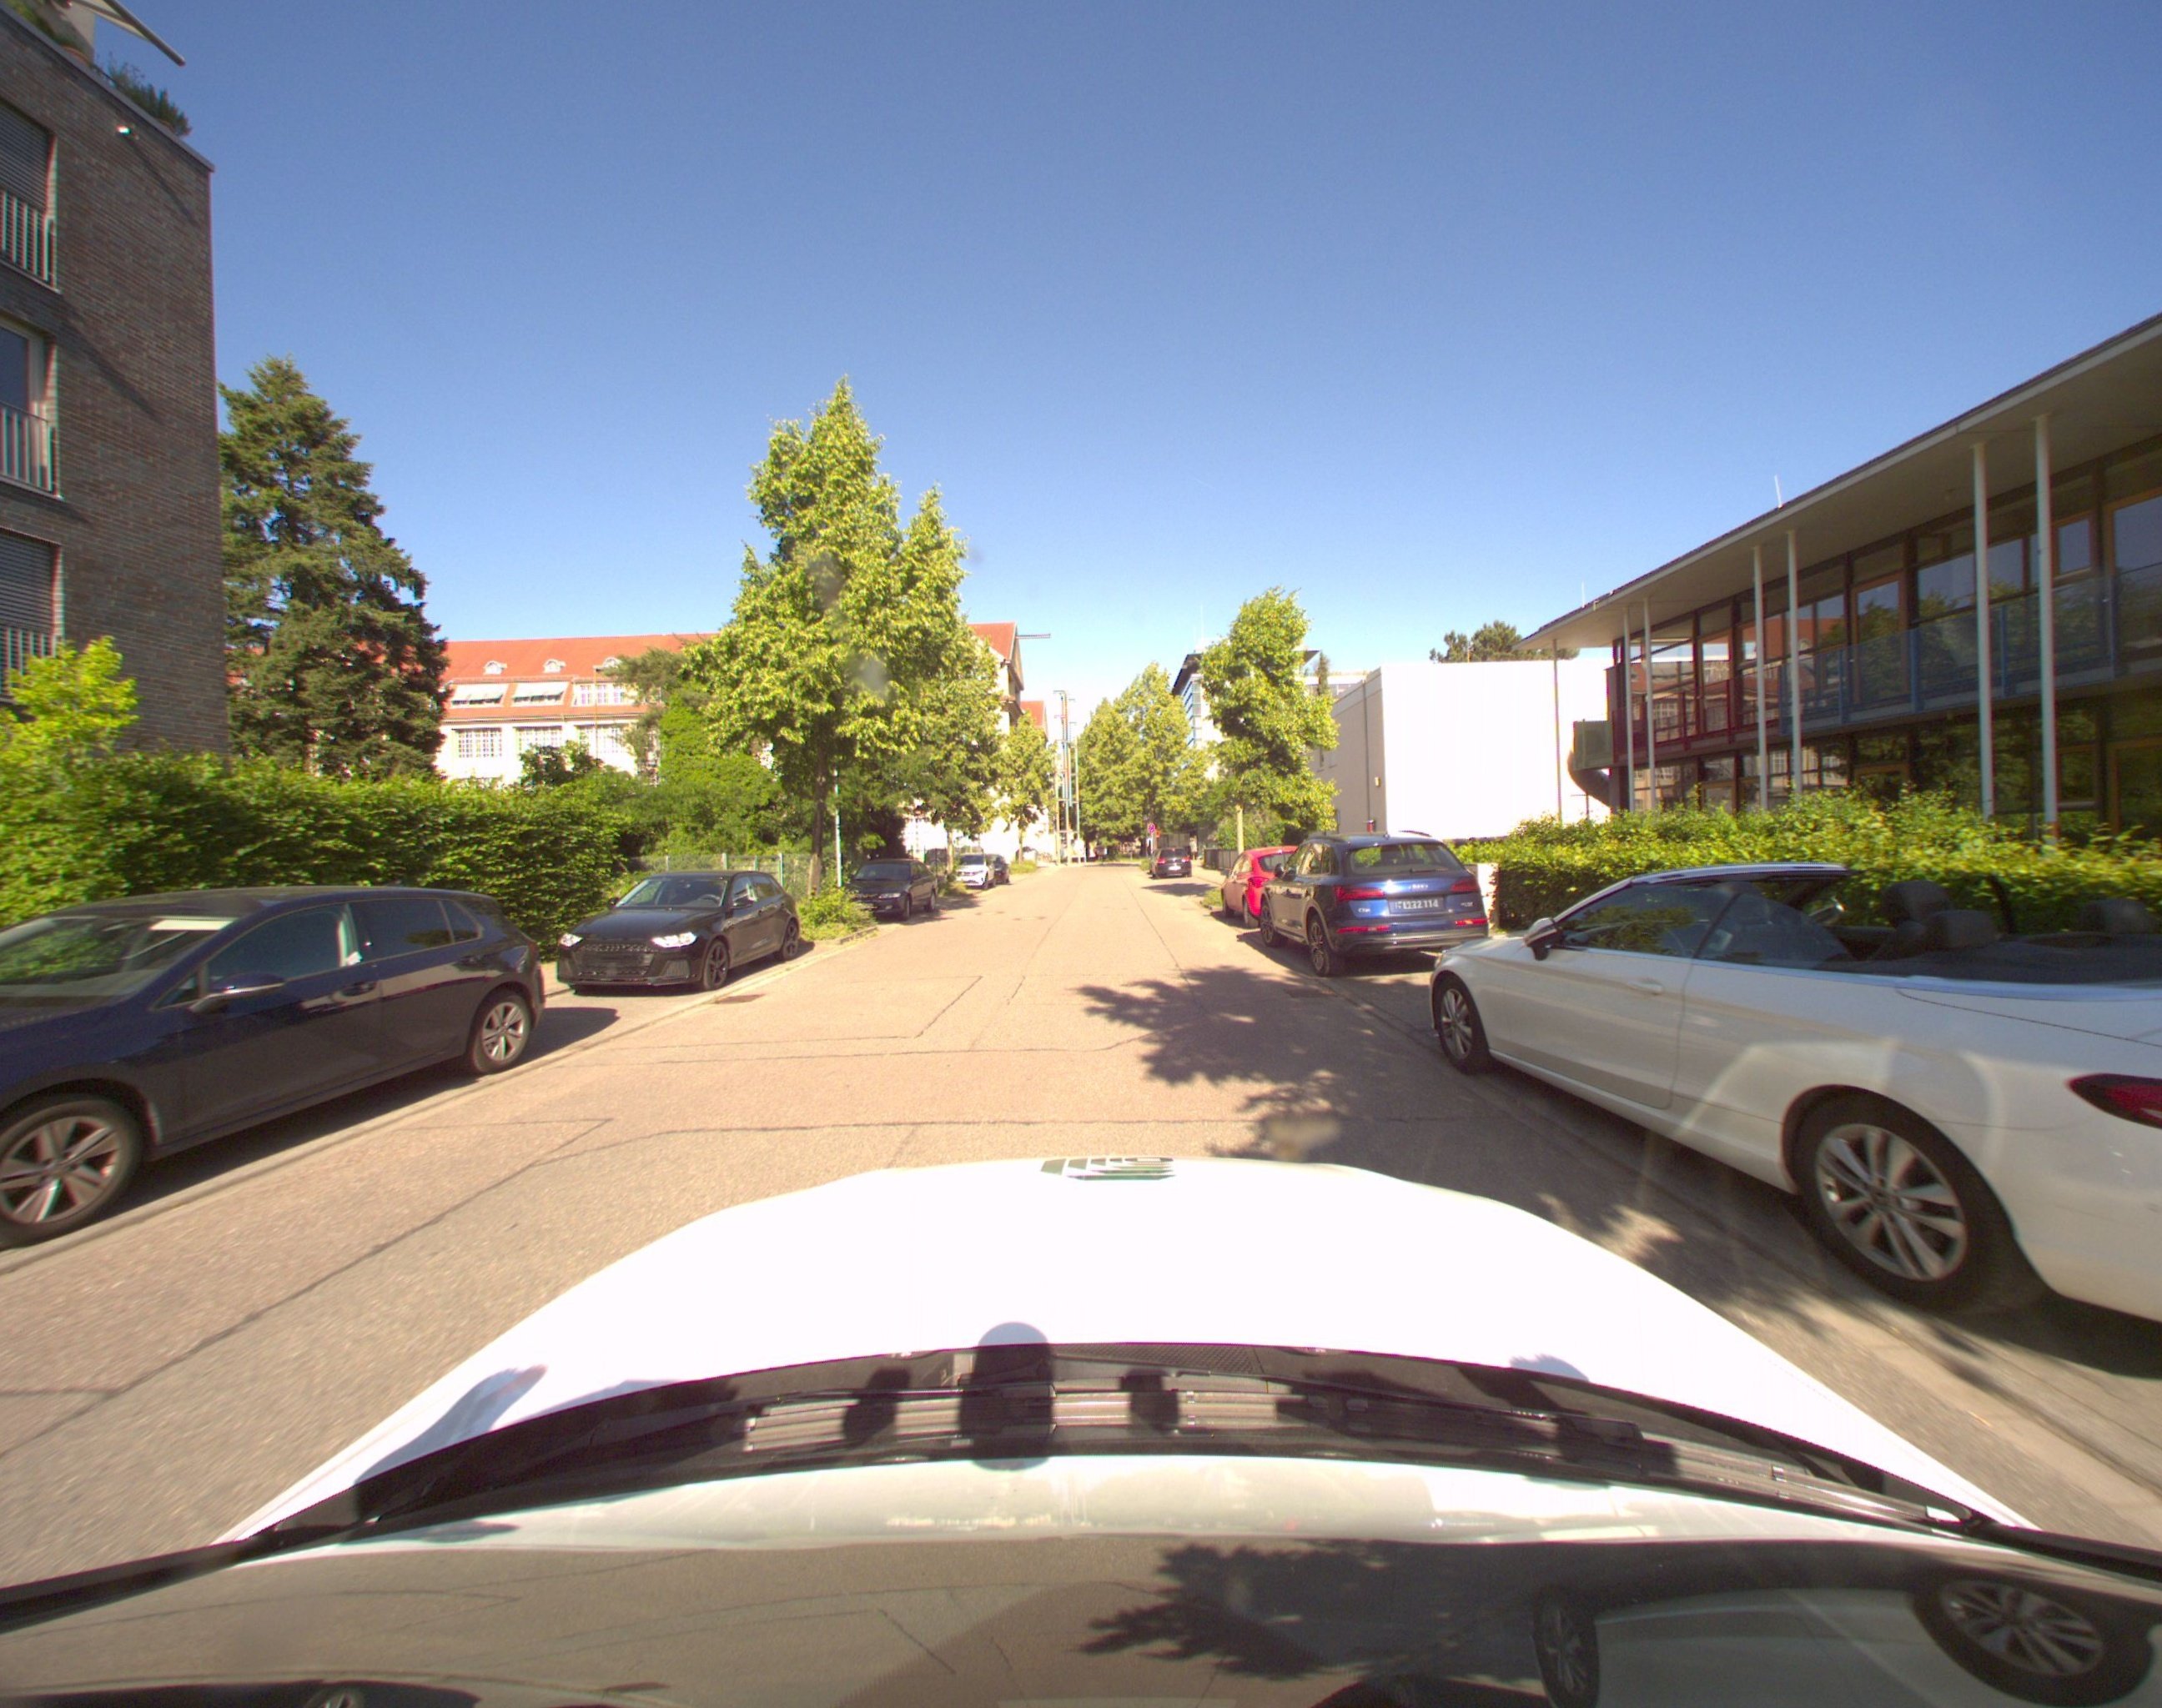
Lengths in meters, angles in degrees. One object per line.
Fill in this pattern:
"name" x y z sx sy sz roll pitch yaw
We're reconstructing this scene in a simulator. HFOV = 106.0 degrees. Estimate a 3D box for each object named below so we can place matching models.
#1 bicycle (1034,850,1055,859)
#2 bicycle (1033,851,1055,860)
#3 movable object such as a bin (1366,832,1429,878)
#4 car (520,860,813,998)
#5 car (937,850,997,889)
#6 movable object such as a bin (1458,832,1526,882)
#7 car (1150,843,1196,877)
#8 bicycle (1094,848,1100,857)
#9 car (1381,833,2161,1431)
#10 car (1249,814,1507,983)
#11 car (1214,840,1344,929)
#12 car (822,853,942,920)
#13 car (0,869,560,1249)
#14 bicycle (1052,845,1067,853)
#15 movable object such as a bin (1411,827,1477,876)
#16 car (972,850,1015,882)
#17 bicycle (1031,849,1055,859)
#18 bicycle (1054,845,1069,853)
"bicycle" -4.767 0.070 106.494 2.725 1.150 0.718 -2 1 -3
"bicycle" -4.784 0.206 105.102 2.794 1.150 0.718 -2 0 -3
"movable object such as a bin" 9.990 0.009 25.767 1.361 1.357 1.632 -2 1 2
"car" -5.259 0.846 11.043 1.834 1.474 4.028 0 0 1
"car" -4.637 0.591 33.577 1.834 1.474 4.003 0 0 1
"movable object such as a bin" 12.812 0.076 25.469 1.325 1.448 1.632 -2 1 2
"car" 4.480 0.249 40.313 1.778 1.516 4.000 -2 1 0
"bicycle" 2.237 -0.153 111.752 0.618 1.197 2.129 -2 1 -3
"car" 3.460 0.643 4.075 1.957 1.319 4.773 -4 0 -2
"car" 3.614 0.460 10.880 1.893 1.682 4.413 -4 0 2
"car" 3.835 0.529 16.395 1.670 1.504 3.847 -3 0 1
"car" -4.845 0.732 20.480 1.834 1.474 4.361 0 0 1
"car" -5.335 0.881 4.787 1.834 1.474 4.101 0 0 1
"bicycle" -3.145 -0.675 117.800 2.049 1.066 0.507 -2 1 3
"movable object such as a bin" 11.408 -0.088 25.691 1.361 1.448 1.632 -2 1 2
"car" -4.209 0.549 39.464 1.712 1.474 3.545 0 0 -1
"bicycle" -4.559 0.030 98.260 2.794 1.063 0.718 -2 1 -3
"bicycle" -2.804 -0.707 118.517 2.049 1.066 0.507 -2 1 3
